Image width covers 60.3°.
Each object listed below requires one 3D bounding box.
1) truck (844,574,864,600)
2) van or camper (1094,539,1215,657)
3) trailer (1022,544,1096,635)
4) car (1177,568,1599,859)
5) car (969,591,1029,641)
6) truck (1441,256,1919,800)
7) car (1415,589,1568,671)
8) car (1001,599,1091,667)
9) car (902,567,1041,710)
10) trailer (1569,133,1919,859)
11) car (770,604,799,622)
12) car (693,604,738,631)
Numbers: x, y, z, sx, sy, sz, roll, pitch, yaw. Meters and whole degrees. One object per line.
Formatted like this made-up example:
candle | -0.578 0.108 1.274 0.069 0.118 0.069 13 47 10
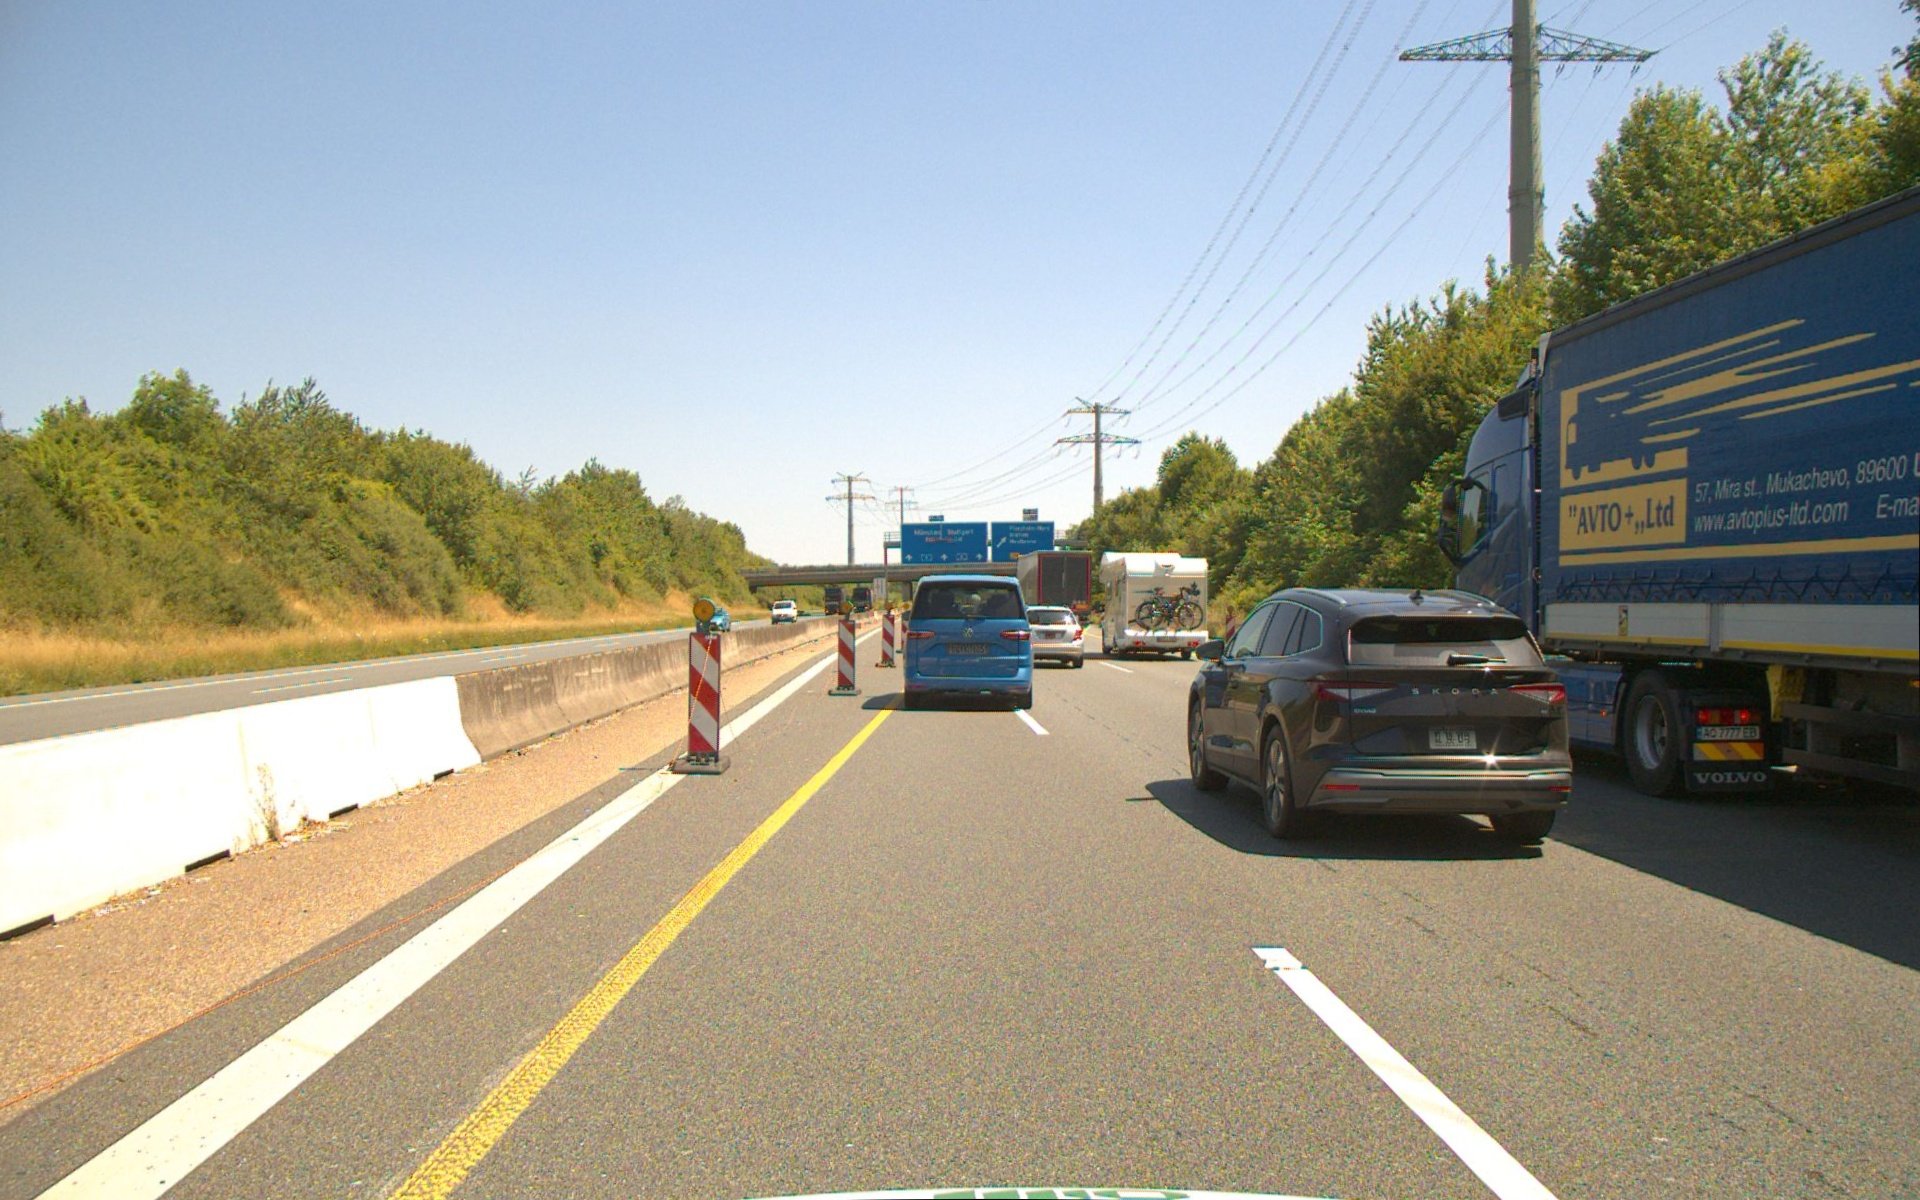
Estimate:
truck | -16.456 -1.953 257.547 2.666 3.987 6.777 1 0 0
van or camper | 5.482 -0.037 47.743 2.321 3.097 7.629 1 0 -2
trailer | 4.776 -0.443 82.272 2.726 4.118 13.109 1 0 -1
car | 2.808 0.675 11.903 1.667 1.684 4.427 1 0 -3
car | 1.359 0.569 59.874 1.837 1.700 4.357 1 0 -3
truck | 6.880 -0.547 15.777 2.729 4.217 5.634 1 0 -2
car | 11.832 0.645 37.116 1.837 1.700 4.357 1 0 -3
car | 2.036 0.765 40.244 1.735 1.544 4.357 1 0 -3
car | 0.085 0.540 25.039 1.837 1.945 4.357 1 0 -3
trailer | 7.126 -0.614 8.606 2.711 4.338 12.873 1 0 -2
car | -14.695 1.097 138.413 1.953 1.422 4.000 -2 0 0
car | -14.070 0.998 95.263 1.953 1.422 4.000 -2 0 0
